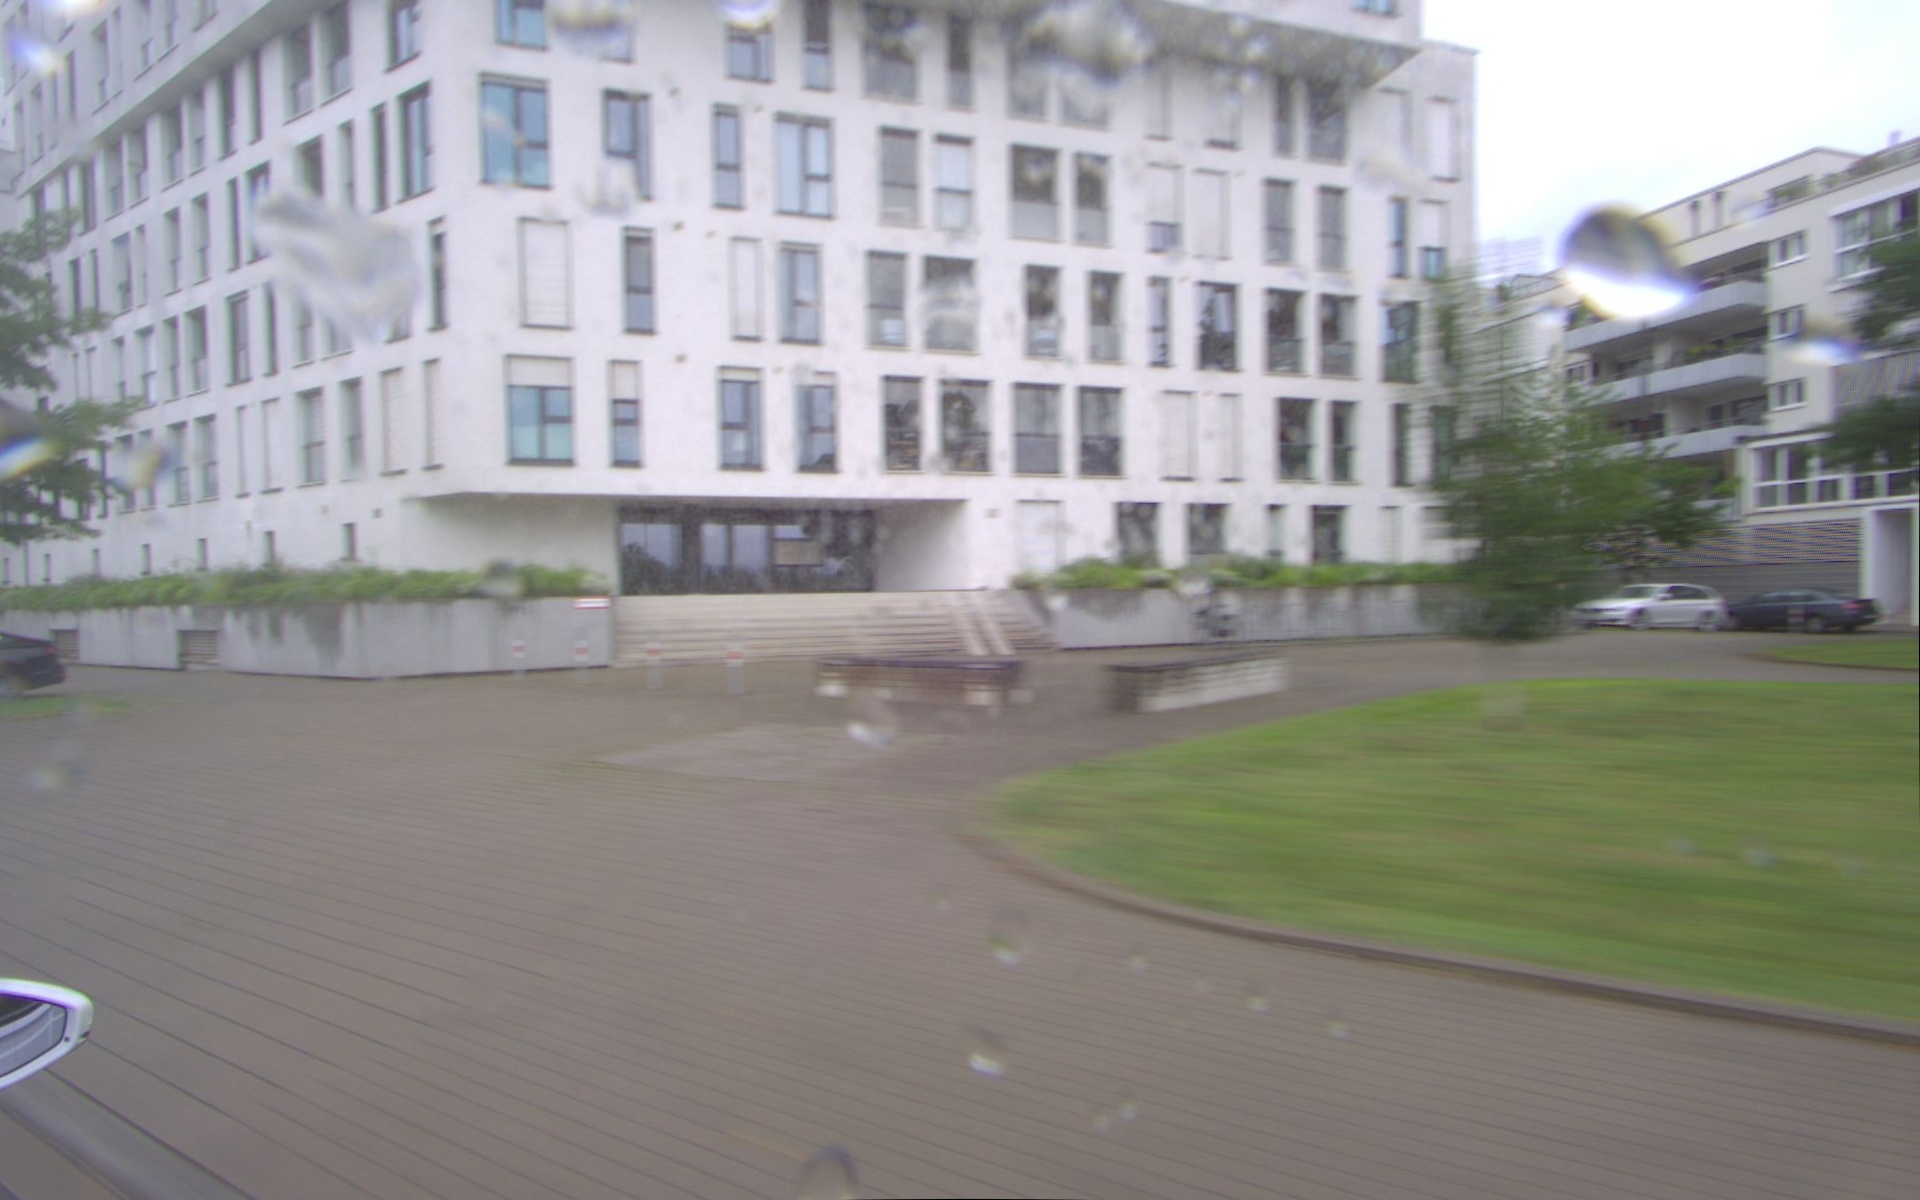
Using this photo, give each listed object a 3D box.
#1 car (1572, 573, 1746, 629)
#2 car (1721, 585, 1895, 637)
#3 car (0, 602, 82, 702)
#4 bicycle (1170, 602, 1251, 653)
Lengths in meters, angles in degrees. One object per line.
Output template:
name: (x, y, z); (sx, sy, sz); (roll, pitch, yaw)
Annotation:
car: (20.554, 0.050, 29.455); (4.752, 1.527, 1.621); (1, 0, -18)
car: (28.175, 0.304, 33.426); (1.744, 1.569, 4.133); (-3, 2, -19)
car: (-16.553, 0.923, 15.134); (1.799, 1.518, 4.560); (-1, 3, 31)
bicycle: (5.415, 0.565, 21.755); (0.712, 1.047, 2.068); (-1, 0, -18)
